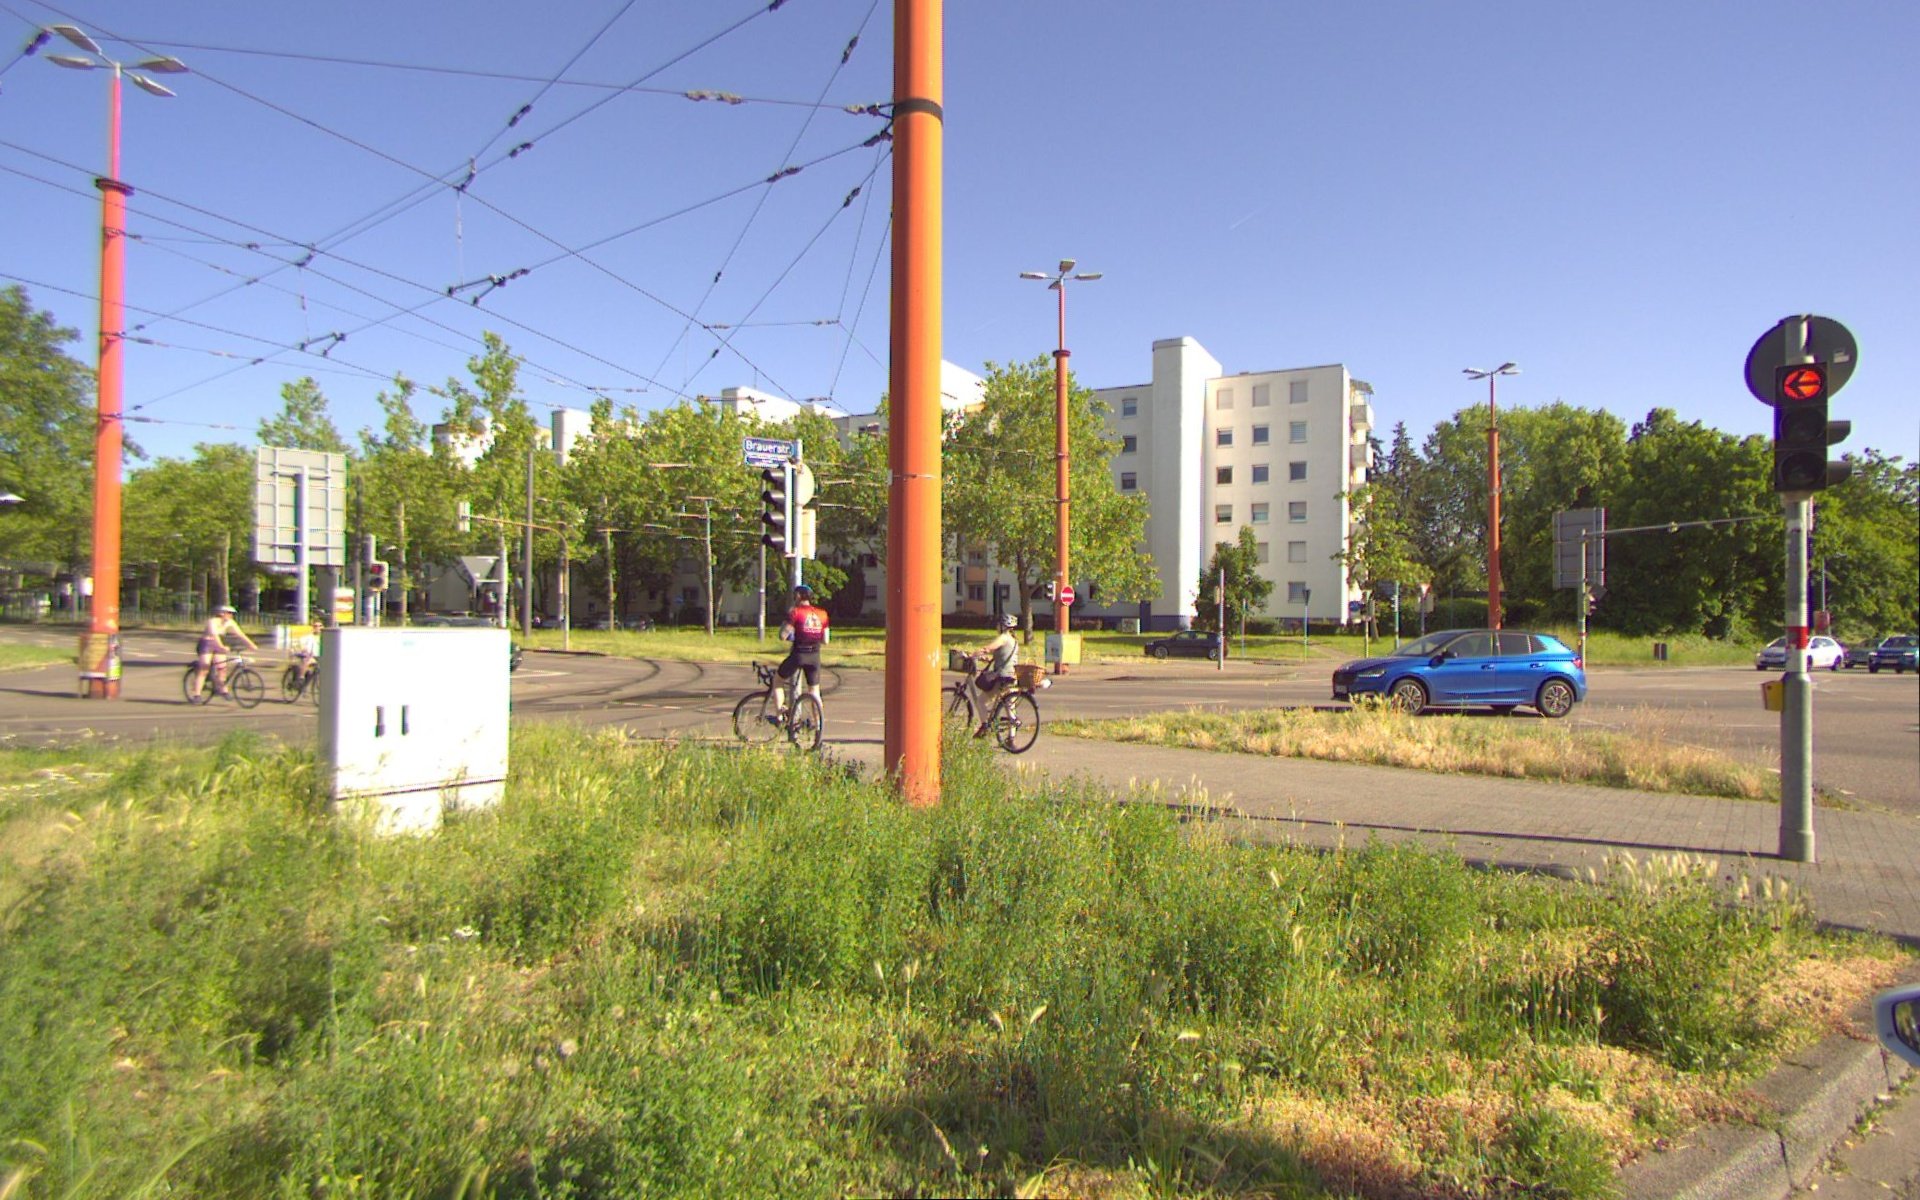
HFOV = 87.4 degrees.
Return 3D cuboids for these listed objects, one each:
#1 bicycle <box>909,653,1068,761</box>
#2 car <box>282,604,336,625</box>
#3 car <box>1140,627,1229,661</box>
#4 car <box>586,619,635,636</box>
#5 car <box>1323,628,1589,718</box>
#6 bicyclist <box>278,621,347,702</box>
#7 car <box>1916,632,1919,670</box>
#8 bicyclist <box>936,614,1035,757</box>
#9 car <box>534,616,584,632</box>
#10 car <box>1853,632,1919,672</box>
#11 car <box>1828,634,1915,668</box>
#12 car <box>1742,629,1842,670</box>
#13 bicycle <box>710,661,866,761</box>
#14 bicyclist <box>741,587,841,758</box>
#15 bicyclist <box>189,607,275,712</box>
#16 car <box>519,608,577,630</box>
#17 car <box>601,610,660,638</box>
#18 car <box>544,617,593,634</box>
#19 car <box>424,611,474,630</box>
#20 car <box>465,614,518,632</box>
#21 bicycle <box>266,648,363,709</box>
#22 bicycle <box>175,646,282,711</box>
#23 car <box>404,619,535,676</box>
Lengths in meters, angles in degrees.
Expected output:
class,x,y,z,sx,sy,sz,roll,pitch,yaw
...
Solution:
class,x,y,z,sx,sy,sz,roll,pitch,yaw
bicycle,0.317,1.253,12.185,1.887,1.146,0.737,0,-1,41
car,-66.298,1.472,102.358,4.274,2.010,1.932,1,-1,-19
car,10.386,2.052,46.682,3.869,1.522,1.840,0,-2,8
car,-25.829,2.001,74.313,3.279,1.149,1.321,2,0,-11
car,8.485,1.226,17.383,3.833,1.439,1.579,1,-1,-2
bicyclist,-12.894,1.204,20.004,0.906,1.545,0.720,2,0,20
car,42.610,2.175,42.713,3.955,1.575,1.891,2,-2,-32
bicyclist,0.317,1.004,12.227,0.815,1.643,0.888,0,-1,41
car,-30.894,1.862,77.437,3.346,1.162,1.305,2,0,-13
car,37.299,2.045,39.763,3.813,1.535,1.793,1,-3,-30
car,43.139,2.381,47.529,3.952,1.533,1.877,1,-2,-29
car,35.369,2.117,42.684,4.168,1.673,1.869,2,-3,-29
bicycle,-2.073,1.286,12.003,1.883,1.085,0.690,-2,-2,33
bicyclist,-2.007,0.844,11.962,0.974,1.938,0.685,-1,-2,33
bicyclist,-13.596,1.085,18.775,0.905,1.892,0.893,2,0,17
car,-32.546,1.512,79.433,3.868,1.614,1.656,2,0,-8
car,-23.664,1.707,72.296,3.874,1.841,1.651,2,0,-13
car,-29.326,1.895,75.340,3.219,1.172,1.357,2,0,-12
car,-43.256,1.768,85.100,3.592,1.480,1.608,2,0,-19
car,-38.838,1.924,83.389,3.665,1.349,1.496,2,0,-8
bicycle,-12.855,1.537,19.997,1.878,1.086,0.580,2,0,19
bicycle,-13.640,1.441,18.733,1.877,1.086,0.580,2,0,17
car,-15.224,1.427,31.133,3.977,1.516,1.913,2,0,34
